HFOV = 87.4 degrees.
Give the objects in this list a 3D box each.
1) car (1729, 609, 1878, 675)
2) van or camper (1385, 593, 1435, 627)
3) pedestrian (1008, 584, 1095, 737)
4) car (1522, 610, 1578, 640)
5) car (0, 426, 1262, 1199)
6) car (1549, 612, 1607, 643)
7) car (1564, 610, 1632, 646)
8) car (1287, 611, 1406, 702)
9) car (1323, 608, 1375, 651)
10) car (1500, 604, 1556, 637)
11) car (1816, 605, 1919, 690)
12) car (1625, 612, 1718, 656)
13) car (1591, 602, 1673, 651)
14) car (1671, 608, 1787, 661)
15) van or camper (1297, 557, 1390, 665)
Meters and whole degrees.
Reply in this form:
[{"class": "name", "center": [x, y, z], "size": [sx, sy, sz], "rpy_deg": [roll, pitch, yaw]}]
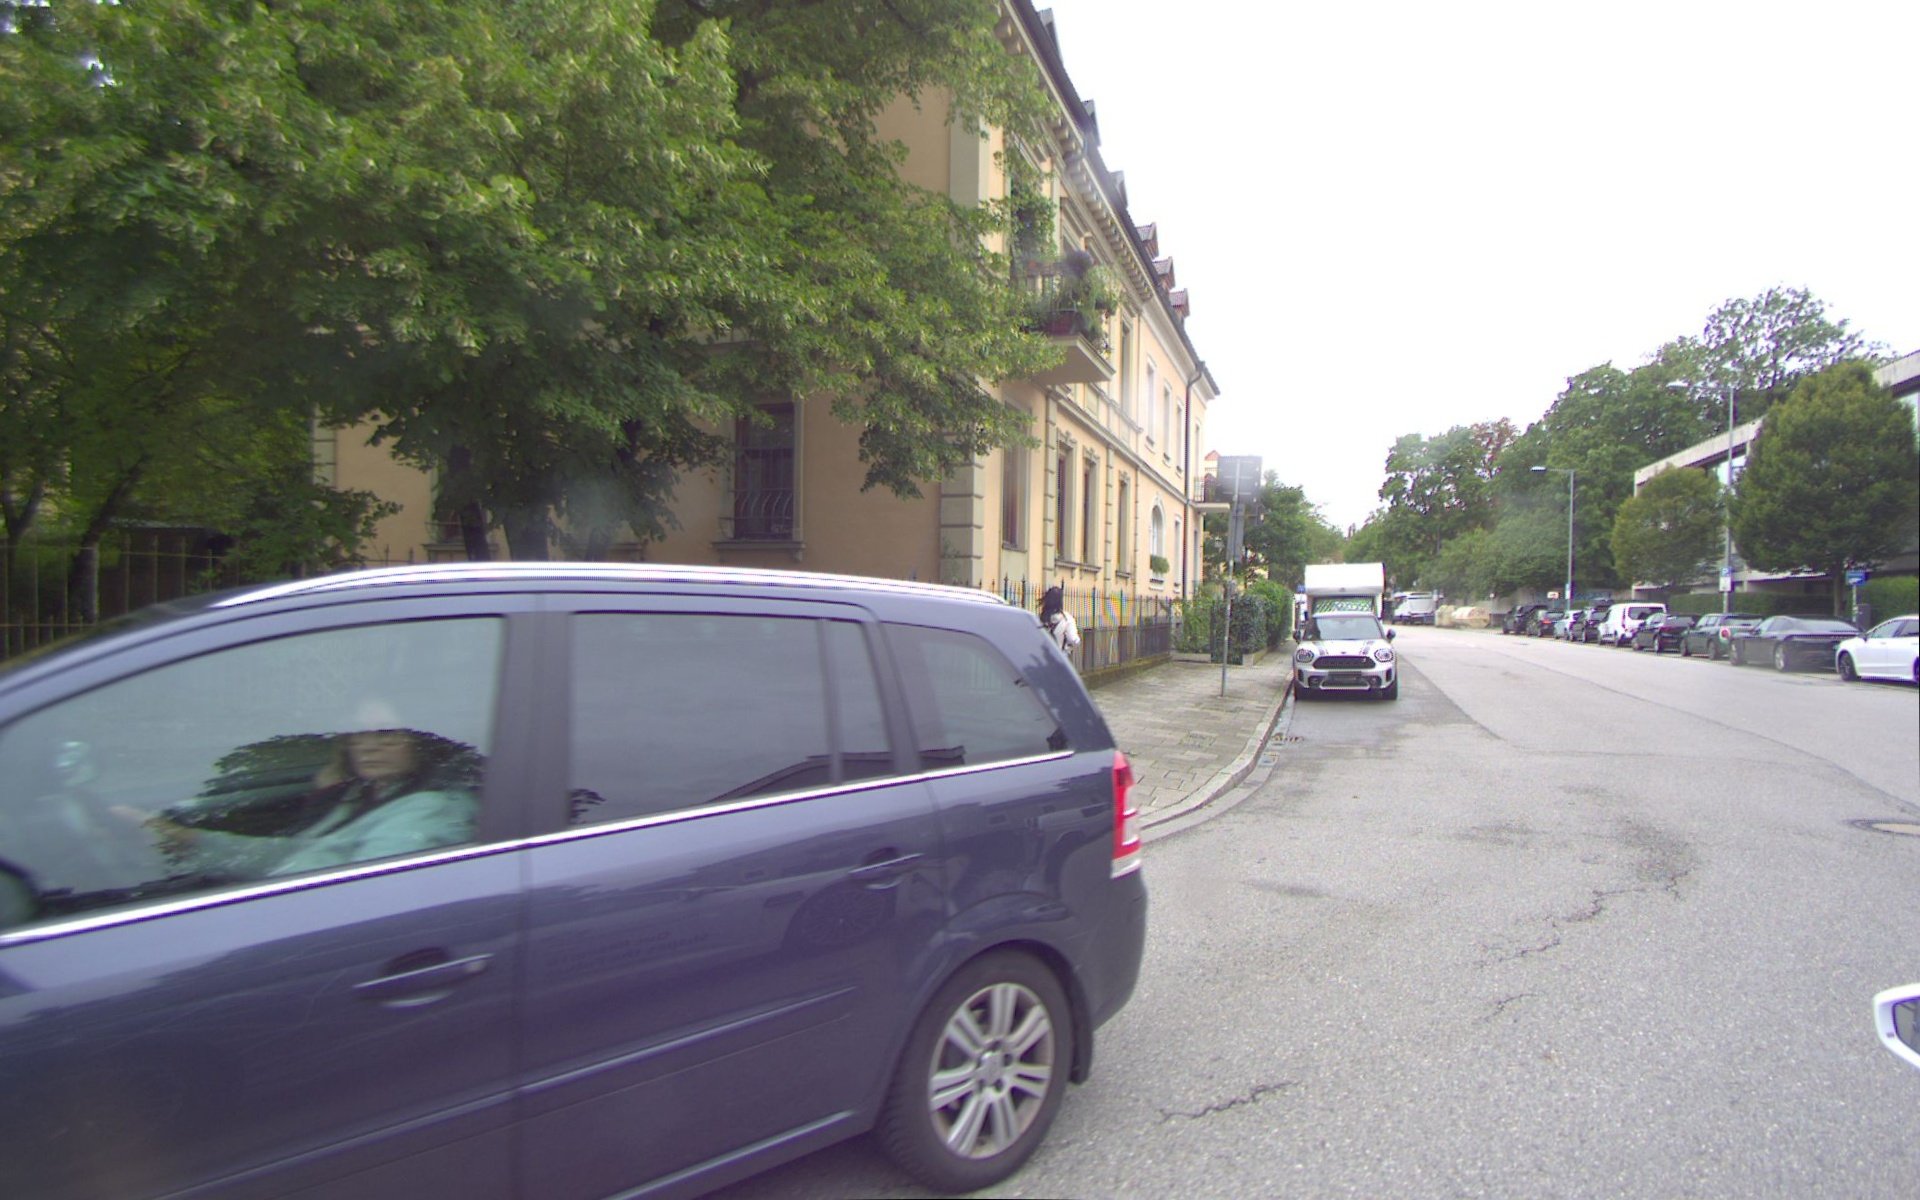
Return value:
[{"class": "car", "center": [22.269, 1.056, 26.757], "size": [1.260, 1.526, 5.207], "rpy_deg": [-1, 0, 20]}, {"class": "van or camper", "center": [41.582, 0.910, 93.034], "size": [2.234, 2.945, 7.281], "rpy_deg": [1, 0, 8]}, {"class": "pedestrian", "center": [1.046, 0.658, 11.425], "size": [0.643, 1.625, 0.739], "rpy_deg": [5, 2, 25]}, {"class": "car", "center": [33.414, 1.376, 57.027], "size": [1.718, 1.560, 4.571], "rpy_deg": [1, 0, 17]}, {"class": "car", "center": [-1.310, 0.665, 2.688], "size": [4.296, 1.715, 1.978], "rpy_deg": [2, -3, -38]}, {"class": "car", "center": [31.682, 1.384, 51.567], "size": [1.719, 1.500, 3.888], "rpy_deg": [1, 0, 19]}, {"class": "car", "center": [29.950, 1.283, 47.288], "size": [1.719, 1.500, 4.597], "rpy_deg": [1, 0, 20]}, {"class": "car", "center": [7.563, 1.025, 19.738], "size": [1.904, 1.555, 4.530], "rpy_deg": [-2, -1, 21]}, {"class": "car", "center": [15.139, 1.098, 39.199], "size": [1.749, 1.555, 4.228], "rpy_deg": [-2, -1, 20]}, {"class": "car", "center": [35.077, 1.271, 62.136], "size": [1.954, 1.896, 5.079], "rpy_deg": [2, -1, 17]}, {"class": "car", "center": [20.274, 0.950, 20.914], "size": [1.839, 1.590, 5.002], "rpy_deg": [-2, 0, 17]}, {"class": "car", "center": [26.073, 1.195, 36.962], "size": [1.719, 1.483, 4.242], "rpy_deg": [0, 0, 20]}, {"class": "car", "center": [28.278, 1.065, 42.412], "size": [1.793, 1.885, 4.897], "rpy_deg": [2, 1, 21]}, {"class": "car", "center": [24.316, 1.043, 31.918], "size": [1.698, 1.549, 4.204], "rpy_deg": [-1, 0, 20]}, {"class": "van or camper", "center": [12.104, 0.346, 31.698], "size": [2.415, 2.980, 7.209], "rpy_deg": [-1, -1, 21]}]
